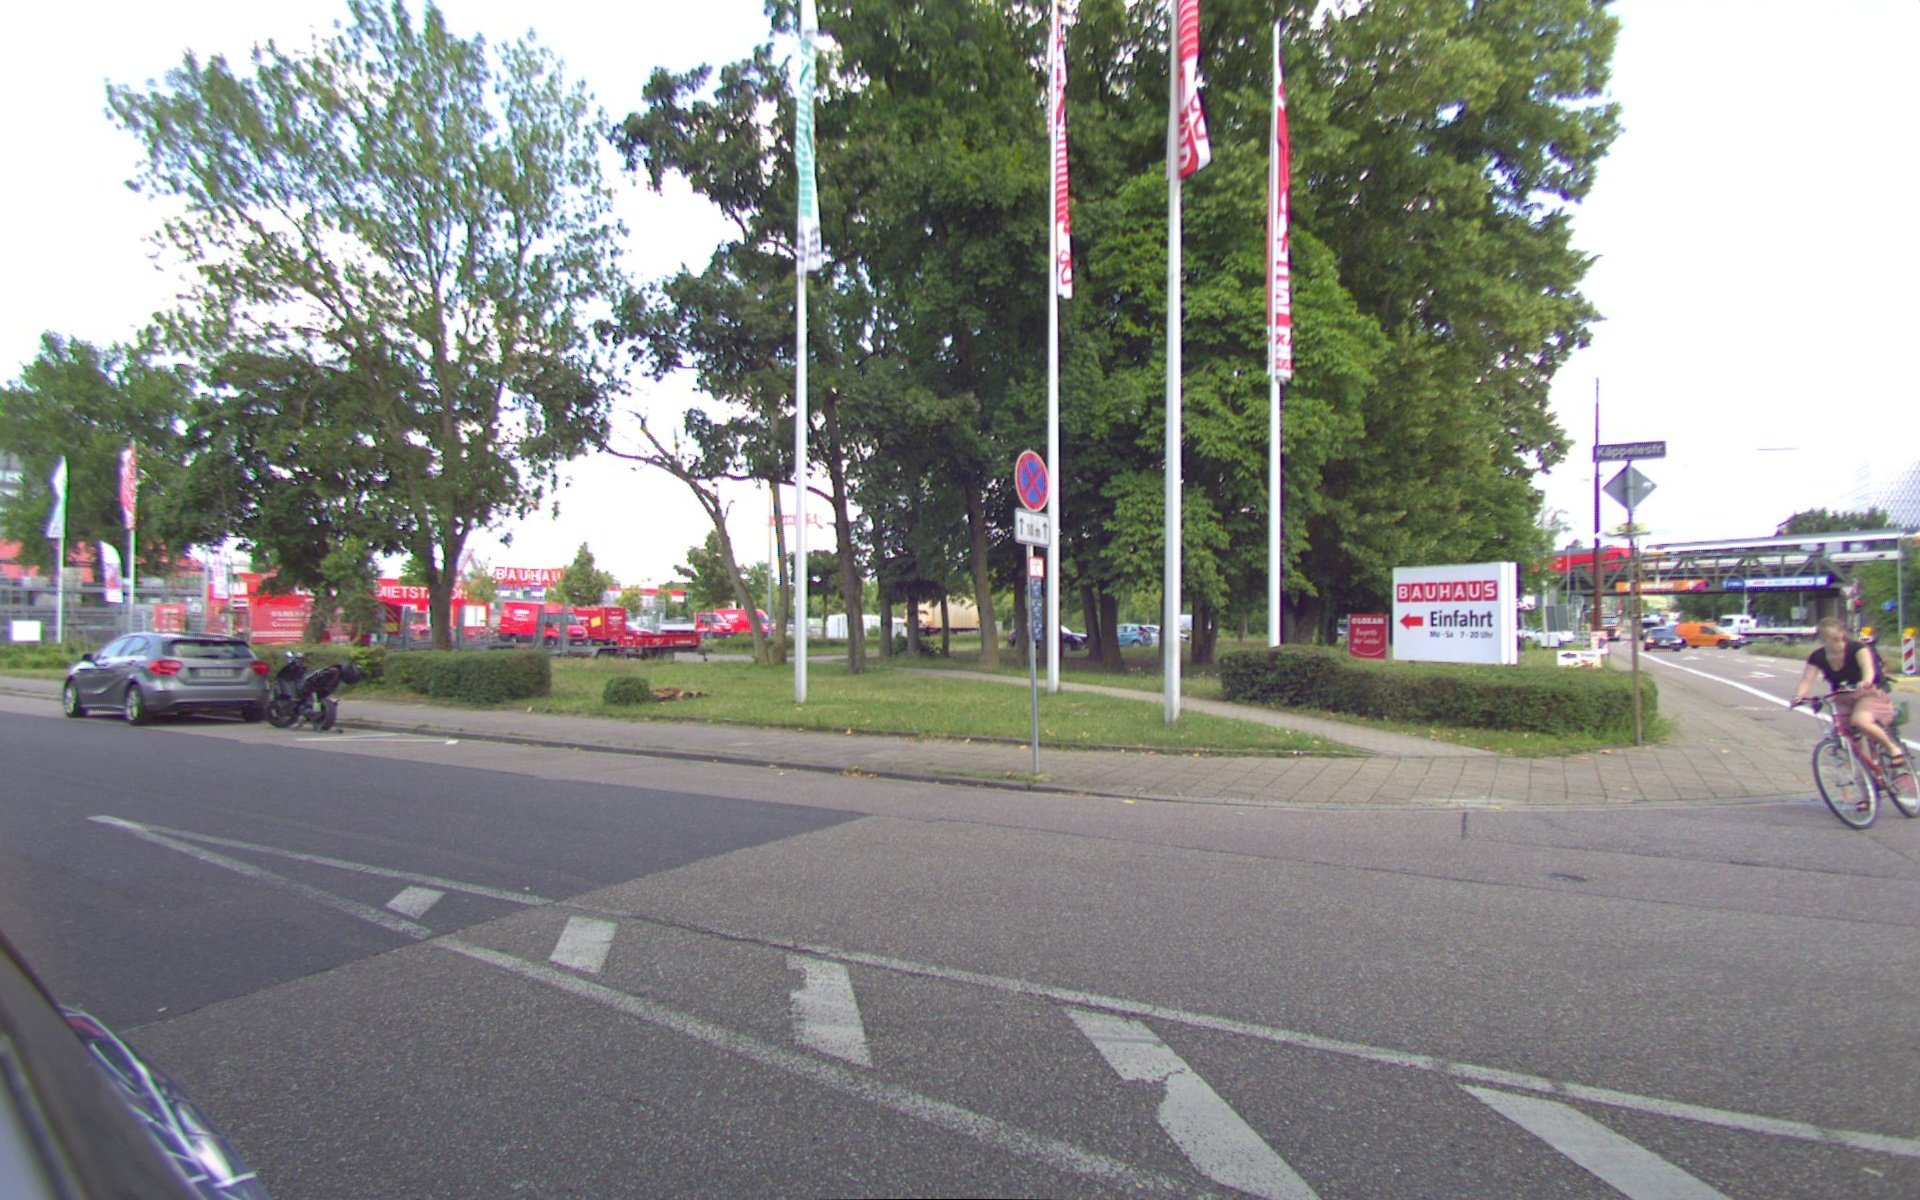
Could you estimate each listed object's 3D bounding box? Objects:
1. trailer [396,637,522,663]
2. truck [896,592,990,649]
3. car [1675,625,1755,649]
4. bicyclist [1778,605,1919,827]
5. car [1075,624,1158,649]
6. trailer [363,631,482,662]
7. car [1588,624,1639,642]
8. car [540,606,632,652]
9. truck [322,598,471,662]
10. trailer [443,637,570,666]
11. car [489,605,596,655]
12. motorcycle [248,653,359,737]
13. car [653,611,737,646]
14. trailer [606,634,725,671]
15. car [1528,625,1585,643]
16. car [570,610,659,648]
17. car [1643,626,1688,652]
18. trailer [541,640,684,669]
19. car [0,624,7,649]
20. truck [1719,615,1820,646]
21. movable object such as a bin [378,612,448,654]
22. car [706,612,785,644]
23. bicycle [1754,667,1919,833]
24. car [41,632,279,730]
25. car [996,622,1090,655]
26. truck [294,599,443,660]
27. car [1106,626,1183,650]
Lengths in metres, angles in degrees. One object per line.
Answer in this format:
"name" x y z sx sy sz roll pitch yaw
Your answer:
"trailer" -20.583 2.030 41.739 2.150 0.919 4.206 1 -1 29
"truck" -1.150 1.499 74.838 2.977 3.979 8.261 1 -1 31
"car" 52.611 2.563 70.616 1.766 1.622 4.152 0 -2 -23
"bicyclist" 7.333 0.893 8.160 0.992 1.660 0.736 1 -3 -27
"car" 9.123 2.113 59.094 4.395 1.423 1.979 -1 -1 31
"trailer" -22.695 1.934 42.896 1.665 1.129 4.206 1 -1 29
"car" 67.516 3.380 104.621 1.859 1.798 4.013 1 -2 -23
"car" -23.009 1.751 62.206 5.704 2.613 2.249 1 -1 32
"truck" -24.576 1.276 44.399 1.773 2.613 5.506 1 -1 31
"trailer" -17.782 2.000 39.849 2.015 0.919 4.206 1 -1 29
"car" -23.713 1.645 57.346 6.417 2.613 2.249 1 -1 32
"motorcycle" -9.730 1.383 14.975 1.796 1.147 0.616 -1 -5 32
"car" -20.127 2.124 76.779 6.415 2.433 2.250 1 -1 31
"trailer" -10.347 1.822 35.752 1.712 1.200 3.782 -2 -2 37
"car" 52.879 2.982 89.768 1.842 1.569 4.013 1 -1 -26
"car" -24.109 1.998 70.507 6.415 2.433 2.250 1 -1 31
"car" 43.390 2.363 62.287 1.862 1.497 3.960 -1 -1 29
"trailer" -12.640 1.968 37.028 2.183 0.920 4.553 -2 -2 36
"car" -56.976 2.065 56.893 1.948 1.465 4.648 -1 -2 32
"truck" 62.737 2.360 78.547 1.998 2.306 5.753 1 -1 -29
"movable object such as a bin" -30.621 1.853 56.653 3.533 2.292 1.979 -1 -2 32
"car" -17.475 2.235 82.305 6.415 2.433 2.250 1 -1 31
"bicycle" 7.326 1.144 8.152 1.783 1.175 0.732 1 -3 -27
"car" -13.193 1.272 16.632 4.317 1.431 1.696 -1 -5 33
"car" 4.023 1.847 49.404 4.341 1.523 1.557 0 -2 31
"truck" -27.030 1.317 46.491 1.810 2.613 5.709 1 -1 33
"car" 11.711 2.399 64.211 4.395 1.423 1.979 -1 -1 31
